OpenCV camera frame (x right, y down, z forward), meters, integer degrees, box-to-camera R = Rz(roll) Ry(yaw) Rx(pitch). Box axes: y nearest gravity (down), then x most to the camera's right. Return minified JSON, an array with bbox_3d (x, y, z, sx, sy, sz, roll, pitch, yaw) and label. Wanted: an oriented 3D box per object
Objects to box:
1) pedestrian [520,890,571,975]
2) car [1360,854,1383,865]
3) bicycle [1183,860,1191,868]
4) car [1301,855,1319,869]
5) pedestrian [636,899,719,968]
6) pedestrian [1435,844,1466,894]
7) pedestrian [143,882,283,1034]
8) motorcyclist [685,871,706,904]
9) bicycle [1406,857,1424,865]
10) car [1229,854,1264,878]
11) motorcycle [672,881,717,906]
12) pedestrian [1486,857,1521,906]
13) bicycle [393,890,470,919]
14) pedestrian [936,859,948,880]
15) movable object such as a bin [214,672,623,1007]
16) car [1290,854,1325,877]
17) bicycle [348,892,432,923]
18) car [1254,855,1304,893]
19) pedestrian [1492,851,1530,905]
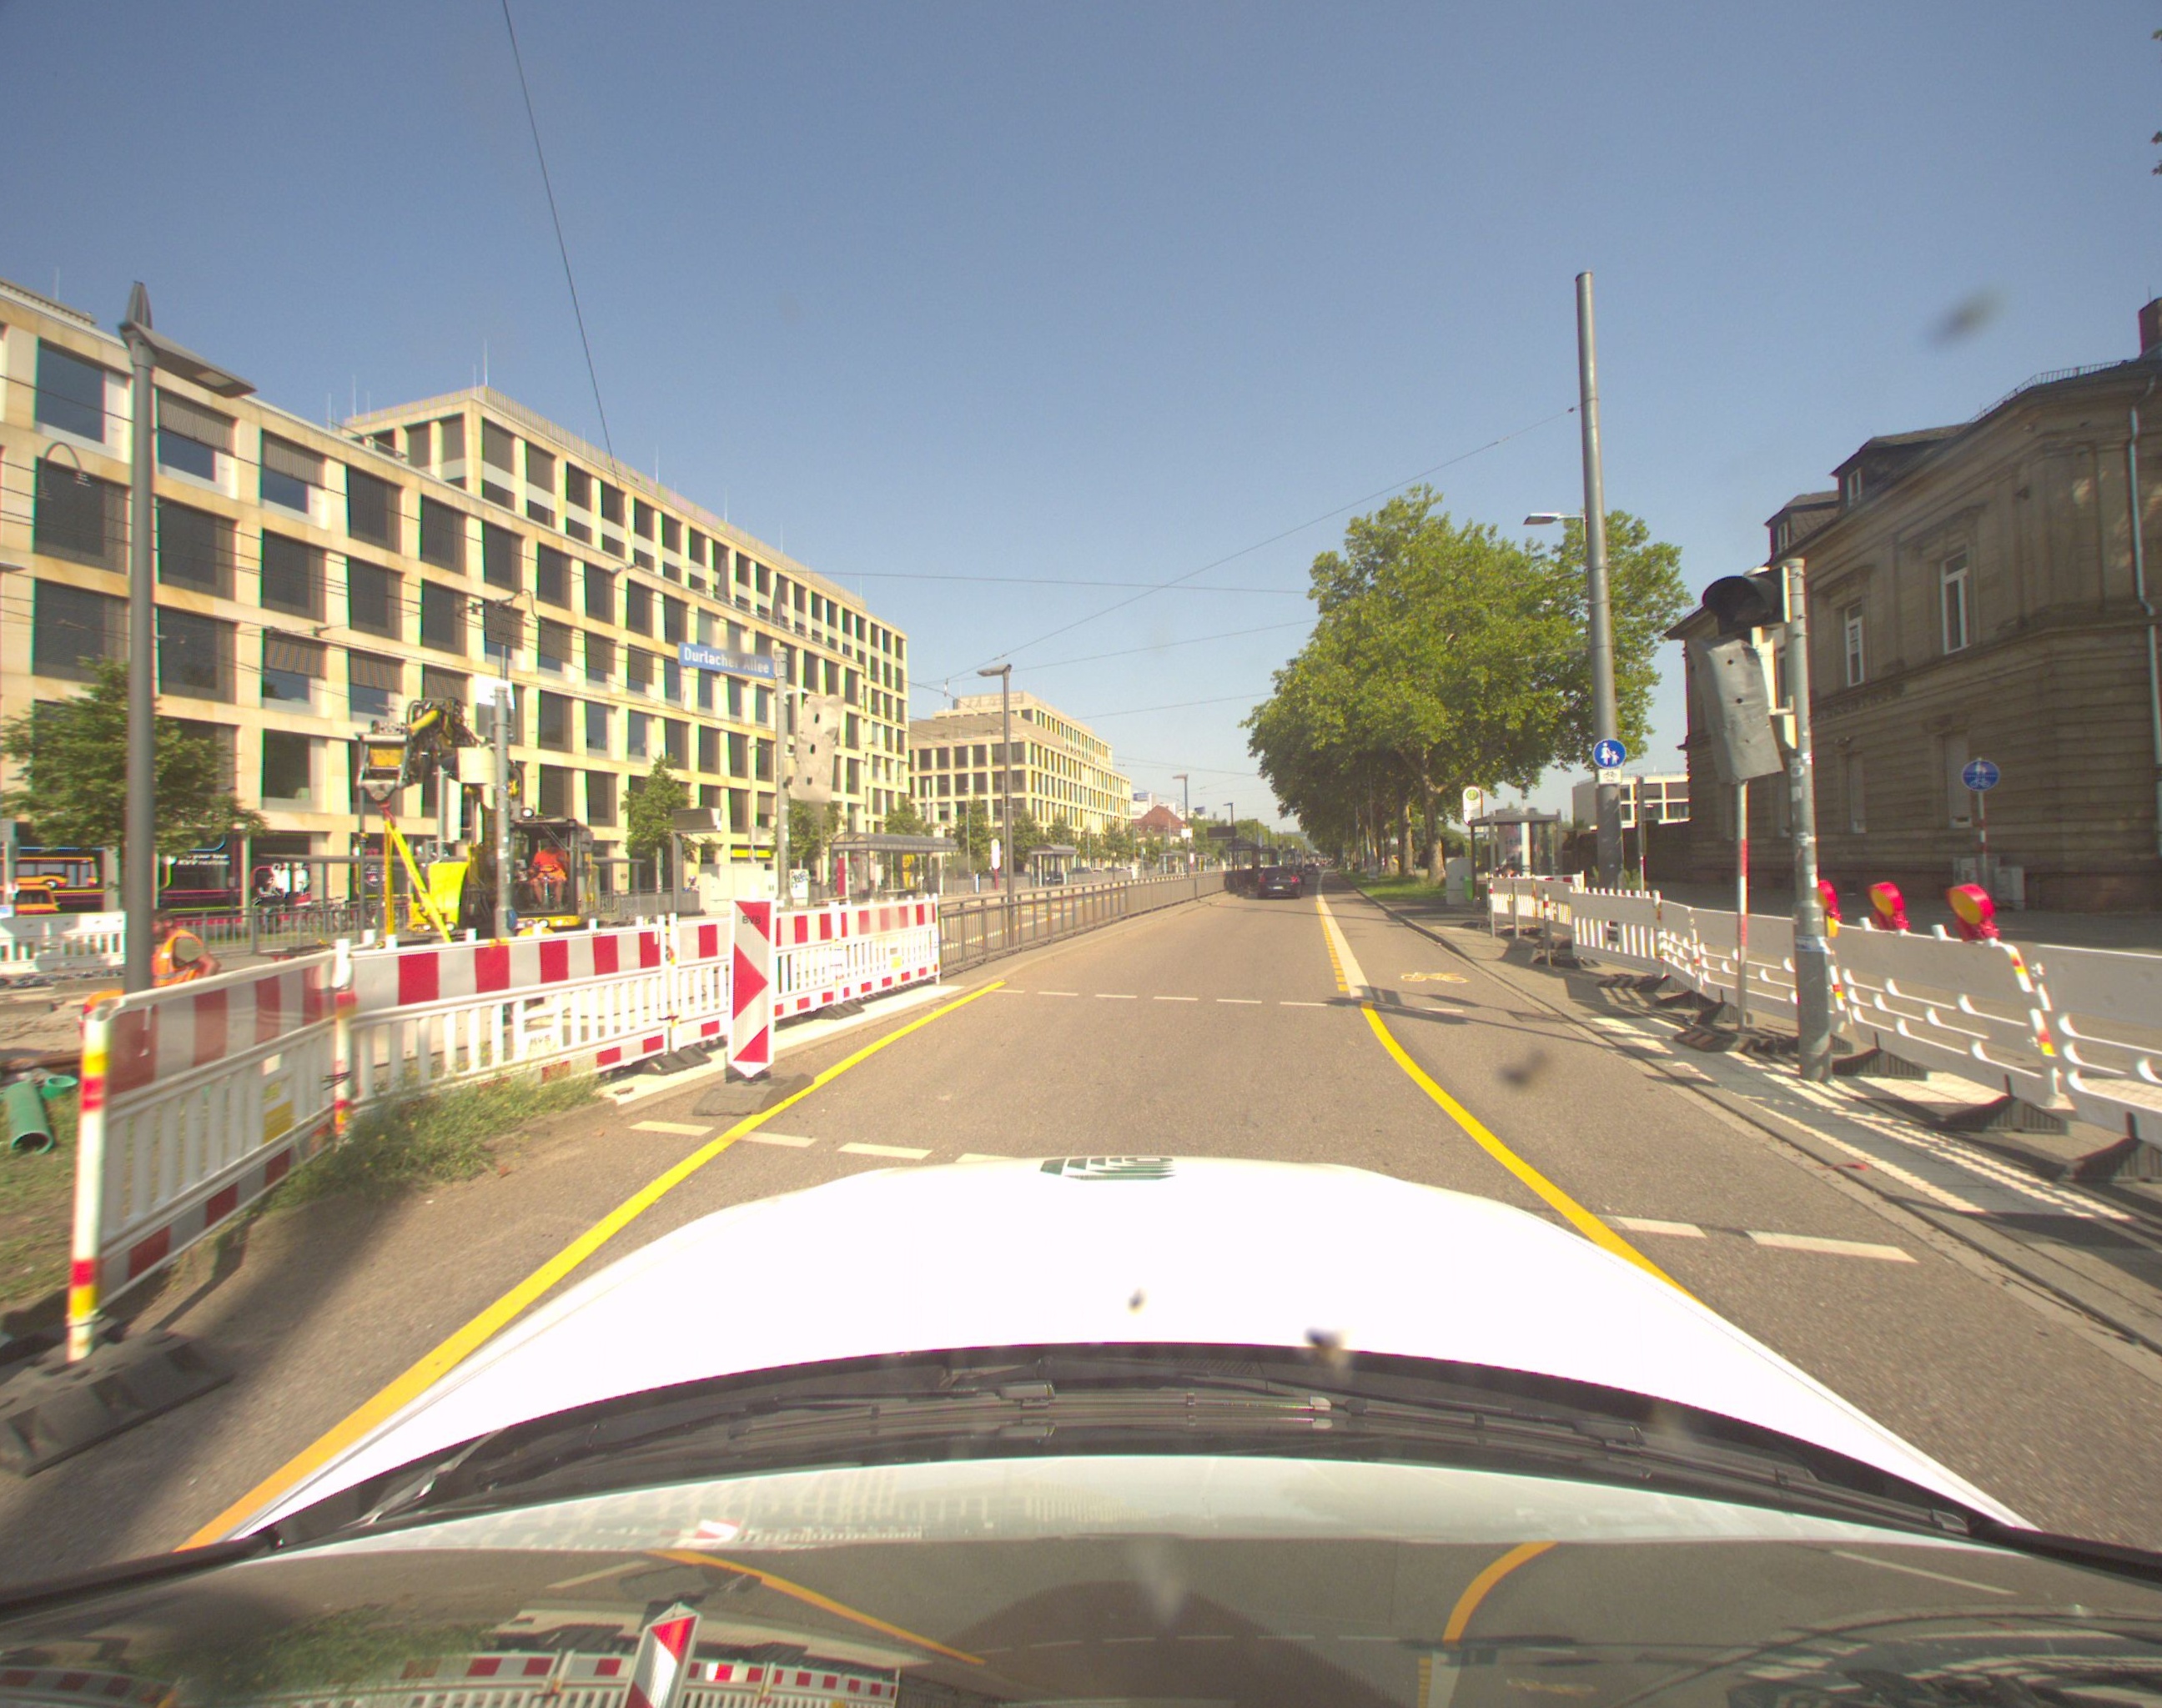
[{"bbox_3d":[-7.828,1.122,11.913,0.590,1.155,0.695,-1,-1,-34],"label":"pedestrian"},{"bbox_3d":[58.224,1.149,163.244,4.069,1.918,1.857,-4,-2,20],"label":"car"},{"bbox_3d":[15.194,1.458,116.696,0.466,1.147,1.493,-2,-1,31],"label":"bicycle"},{"bbox_3d":[25.535,0.894,90.741,1.892,1.537,4.017,-2,-1,16],"label":"car"},{"bbox_3d":[-6.127,1.193,12.395,0.695,0.955,0.886,-2,-1,17],"label":"pedestrian"},{"bbox_3d":[12.330,0.506,27.197,0.873,1.626,0.827,-2,-1,23],"label":"pedestrian"},{"bbox_3d":[-8.383,0.956,7.874,0.694,1.335,0.842,-3,-1,37],"label":"pedestrian"},{"bbox_3d":[-14.287,1.243,30.191,0.426,1.179,0.518,-5,-3,21],"label":"motorcyclist"},{"bbox_3d":[46.097,0.930,112.335,2.157,1.076,0.746,-2,-1,15],"label":"bicycle"},{"bbox_3d":[11.676,0.810,57.294,1.978,1.559,4.018,-2,-1,17],"label":"car"},{"bbox_3d":[-14.307,1.450,30.182,0.426,0.878,1.643,-5,-3,21],"label":"motorcycle"},{"bbox_3d":[10.845,0.700,20.921,0.604,1.218,0.576,-4,-1,14],"label":"pedestrian"},{"bbox_3d":[-23.942,1.876,30.030,2.412,0.967,0.949,-2,-1,14],"label":"bicycle"},{"bbox_3d":[-13.191,1.511,77.322,0.788,1.917,0.841,-5,-3,11],"label":"pedestrian"},{"bbox_3d":[-10.611,-0.163,13.516,2.962,4.554,4.232,-2,-1,19],"label":"movable object such as a bin"},{"bbox_3d":[15.503,0.759,55.627,1.977,1.441,4.019,-2,-1,19],"label":"car"},{"bbox_3d":[-24.302,1.870,28.632,2.412,0.967,1.024,-2,-1,14],"label":"bicycle"},{"bbox_3d":[8.641,0.824,35.330,1.893,1.537,4.017,-1,-1,16],"label":"car"},{"bbox_3d":[10.635,0.585,20.167,0.604,1.277,0.762,-4,-1,14],"label":"pedestrian"}]
